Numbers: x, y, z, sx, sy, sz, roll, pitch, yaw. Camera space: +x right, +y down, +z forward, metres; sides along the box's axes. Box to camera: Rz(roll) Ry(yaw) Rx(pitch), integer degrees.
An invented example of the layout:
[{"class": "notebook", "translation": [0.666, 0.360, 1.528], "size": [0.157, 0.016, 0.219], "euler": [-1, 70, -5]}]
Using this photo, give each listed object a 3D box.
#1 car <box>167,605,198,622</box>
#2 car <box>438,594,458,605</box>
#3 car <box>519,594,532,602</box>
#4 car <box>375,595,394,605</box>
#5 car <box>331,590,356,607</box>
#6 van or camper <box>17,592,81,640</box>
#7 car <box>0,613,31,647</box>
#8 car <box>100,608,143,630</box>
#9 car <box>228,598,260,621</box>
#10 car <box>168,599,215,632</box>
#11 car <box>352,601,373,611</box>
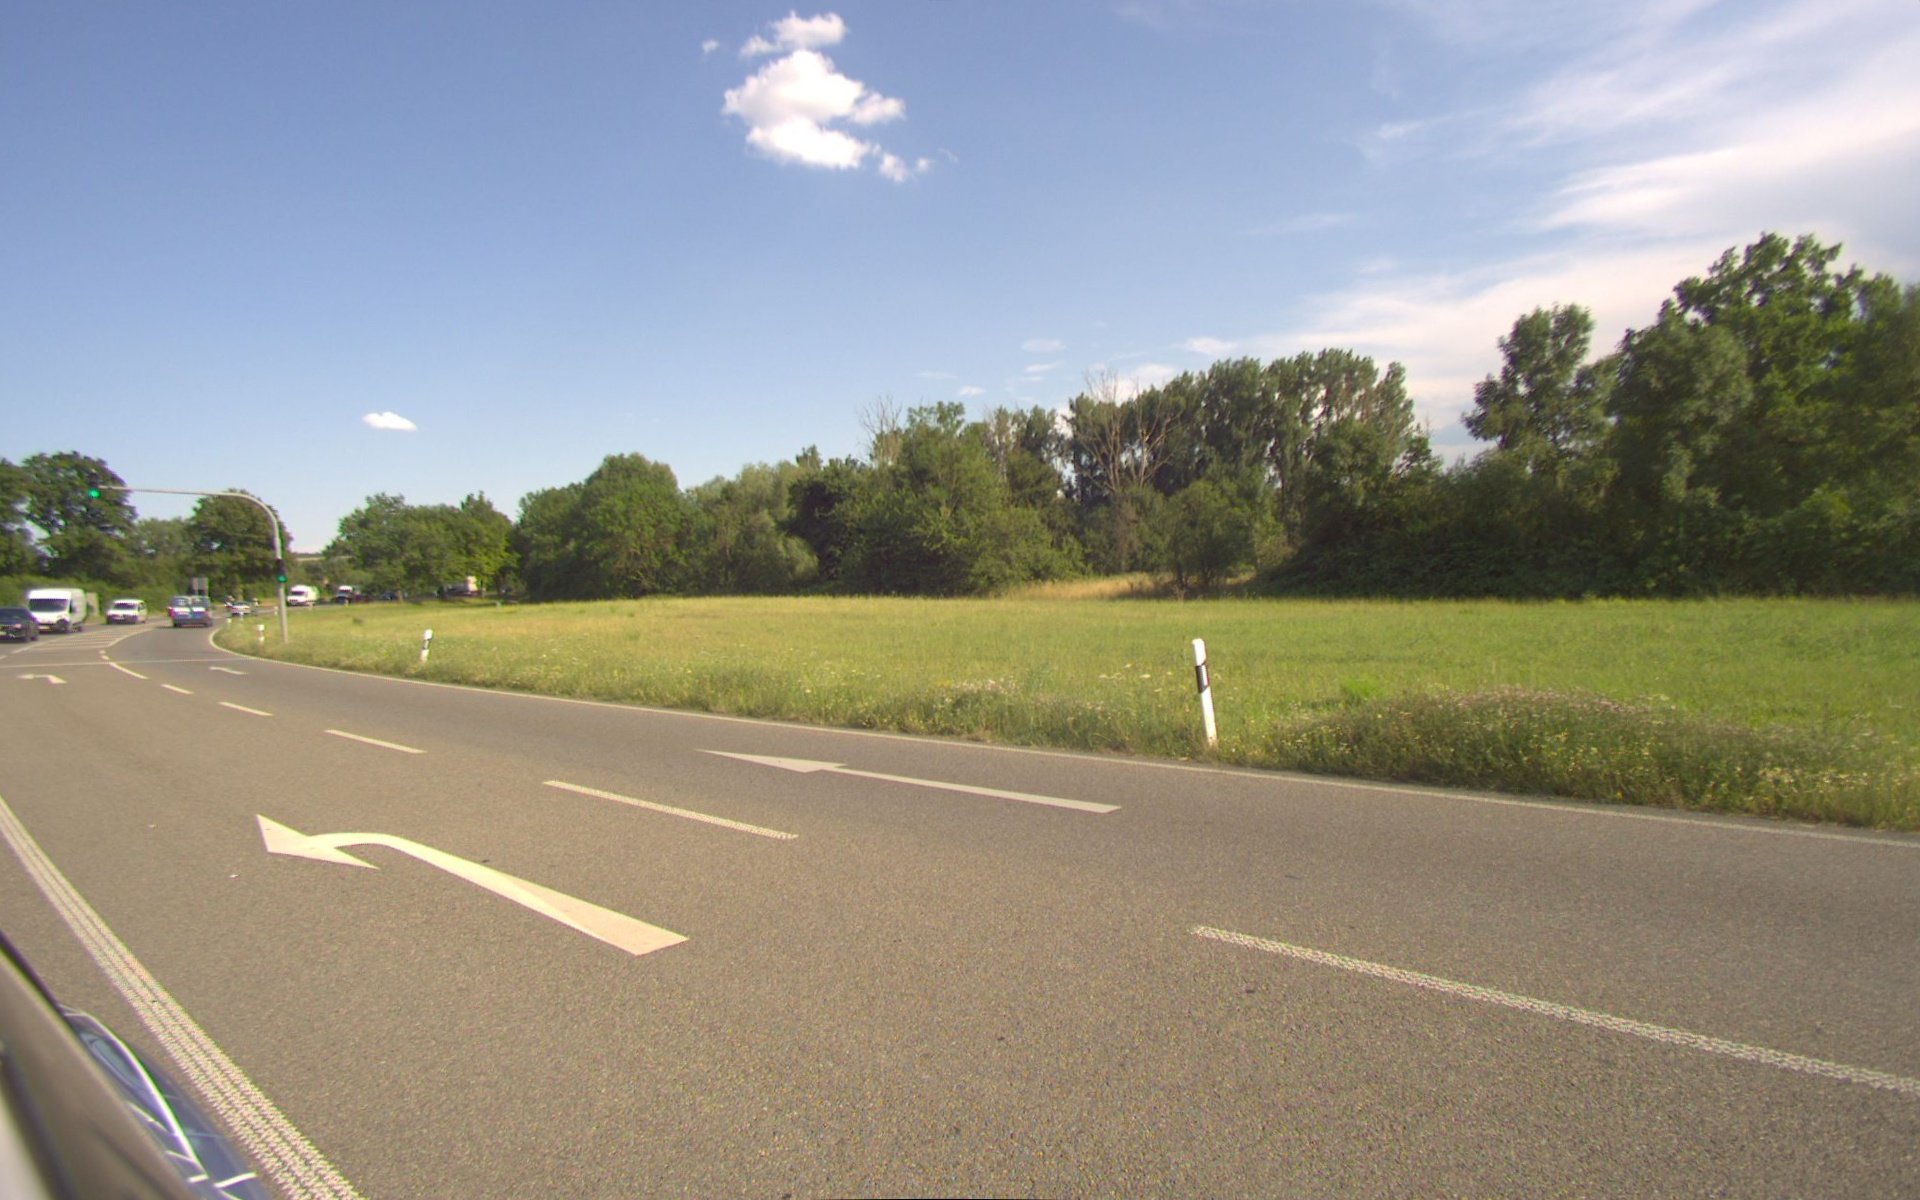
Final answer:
[{"class": "car", "translation": [-73.886, 1.300, 96.221], "size": [1.646, 1.490, 3.506], "euler": [-3, 1, -26]}, {"class": "car", "translation": [-94.014, -0.064, 185.885], "size": [1.704, 1.897, 4.340], "euler": [0, -1, -5]}, {"class": "car", "translation": [-95.729, -0.425, 222.908], "size": [1.615, 1.707, 3.621], "euler": [0, 0, -4]}, {"class": "car", "translation": [-97.666, -0.034, 171.707], "size": [1.631, 1.616, 3.879], "euler": [-3, 1, -12]}, {"class": "car", "translation": [-94.318, -0.255, 154.791], "size": [1.966, 2.405, 4.951], "euler": [-3, 1, -17]}, {"class": "van or camper", "translation": [-51.701, 0.866, 57.508], "size": [2.002, 2.494, 5.090], "euler": [-3, 1, -35]}, {"class": "car", "translation": [-43.799, 1.358, 46.269], "size": [1.582, 1.490, 3.624], "euler": [2, -2, -37]}, {"class": "car", "translation": [-61.636, 1.389, 74.473], "size": [1.646, 1.490, 3.505], "euler": [-3, 1, -27]}, {"class": "car", "translation": [-66.312, 0.850, 93.777], "size": [1.756, 2.028, 3.858], "euler": [-3, 1, -26]}, {"class": "car", "translation": [-52.069, 1.038, 68.684], "size": [1.970, 2.153, 4.793], "euler": [-1, 0, -31]}, {"class": "car", "translation": [-88.253, 0.900, 149.552], "size": [1.564, 1.478, 3.615], "euler": [0, -1, -12]}]
